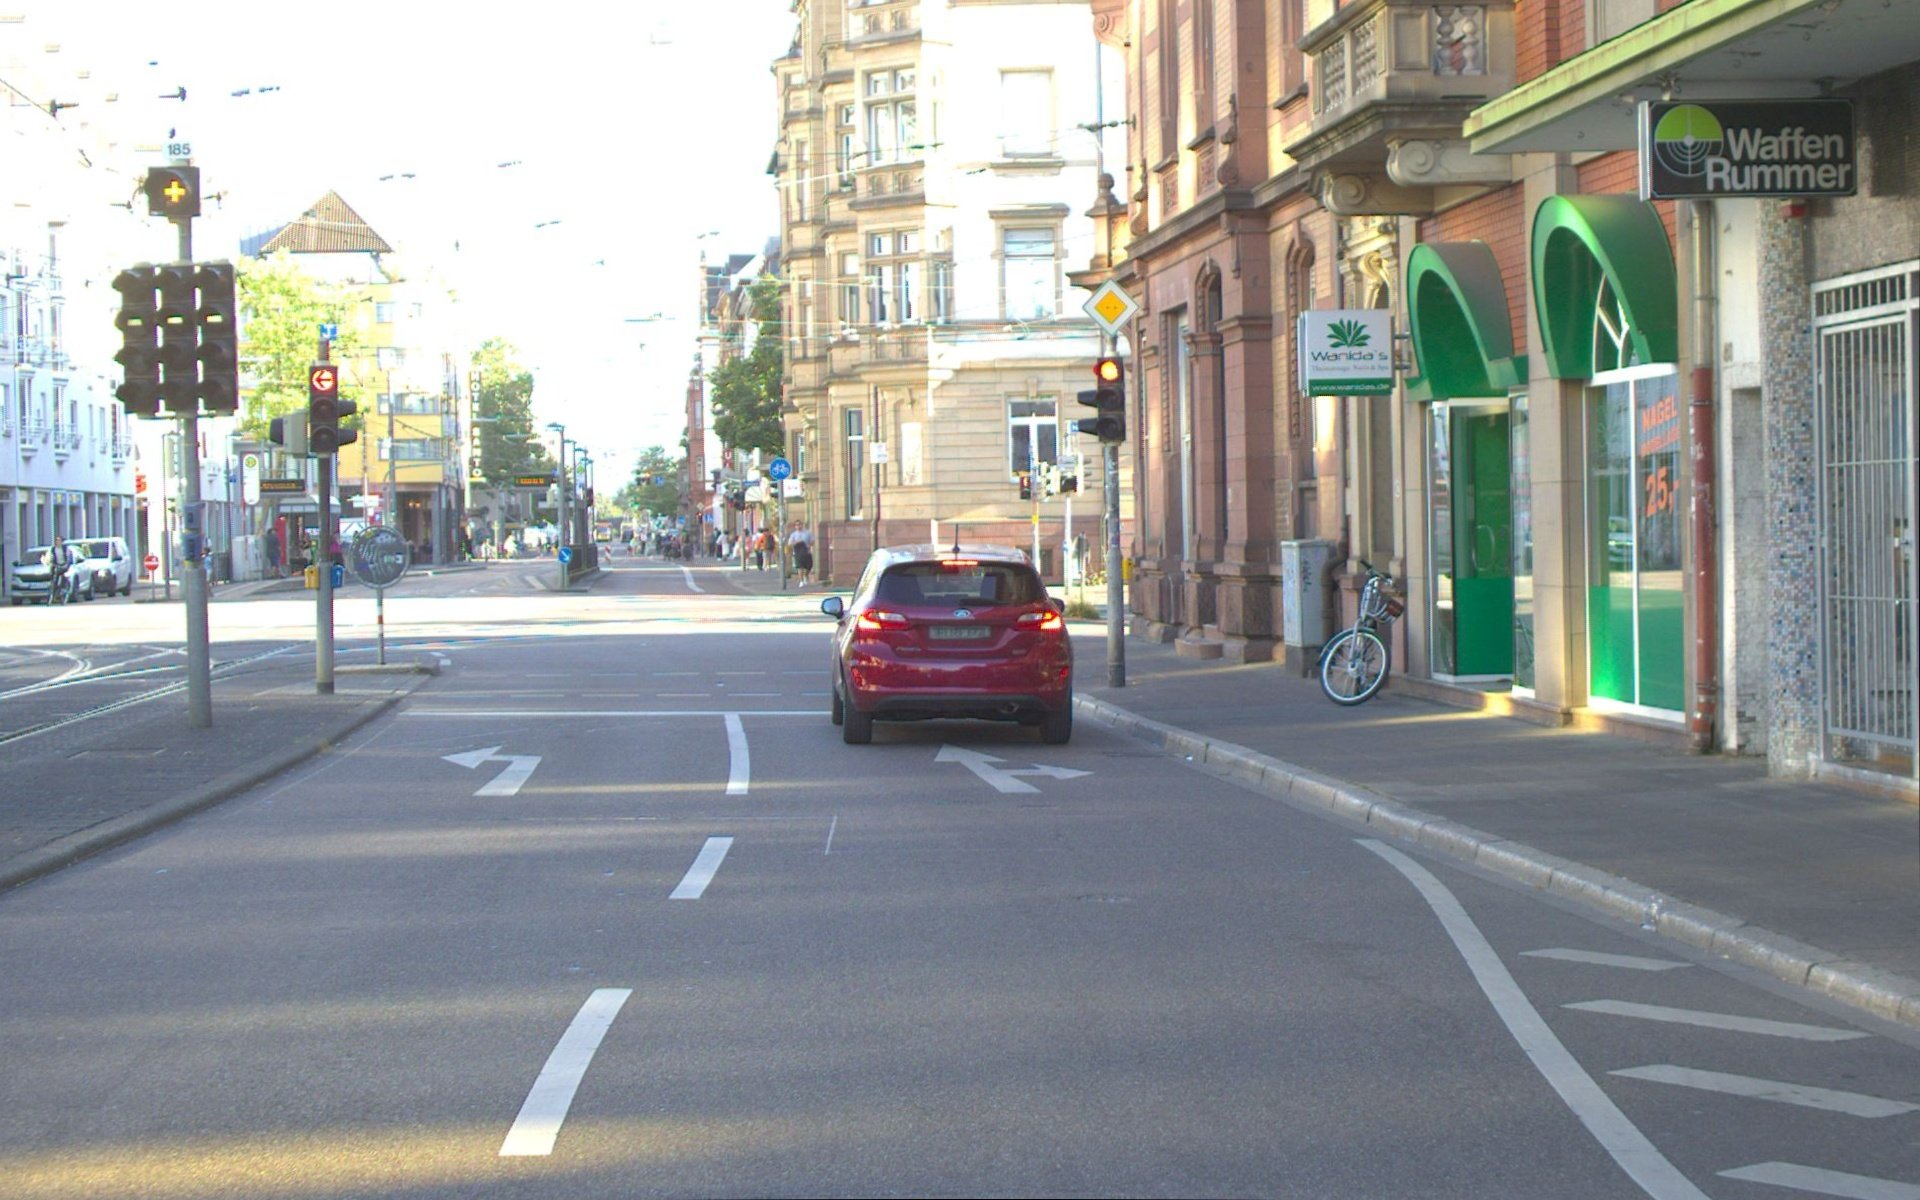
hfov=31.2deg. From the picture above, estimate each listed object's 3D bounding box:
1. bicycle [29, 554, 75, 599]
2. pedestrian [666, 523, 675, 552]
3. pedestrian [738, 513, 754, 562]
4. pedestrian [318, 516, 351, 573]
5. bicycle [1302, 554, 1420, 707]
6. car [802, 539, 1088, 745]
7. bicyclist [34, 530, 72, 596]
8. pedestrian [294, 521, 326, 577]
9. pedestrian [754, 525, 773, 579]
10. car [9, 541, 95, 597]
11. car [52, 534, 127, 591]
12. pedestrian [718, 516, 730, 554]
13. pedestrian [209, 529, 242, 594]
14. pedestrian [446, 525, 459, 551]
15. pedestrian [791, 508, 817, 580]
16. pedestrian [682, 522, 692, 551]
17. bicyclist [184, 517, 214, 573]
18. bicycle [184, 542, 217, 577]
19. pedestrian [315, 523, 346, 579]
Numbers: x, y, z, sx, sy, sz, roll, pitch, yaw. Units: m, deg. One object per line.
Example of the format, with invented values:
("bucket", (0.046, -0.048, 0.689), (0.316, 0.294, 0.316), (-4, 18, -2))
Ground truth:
("bicycle", (-23.749, -0.621, 89.940), (0.807, 1.143, 2.050), (-1, 1, -5))
("pedestrian", (-18.868, -4.085, 224.121), (0.577, 1.880, 0.670), (-1, 1, -5))
("pedestrian", (-8.888, -2.585, 142.522), (0.577, 2.007, 0.631), (-1, 1, 1))
("pedestrian", (-22.321, -1.985, 122.678), (1.045, 2.007, 0.959), (-1, 1, -7))
("bicycle", (3.284, 0.235, 28.044), (0.716, 1.148, 1.654), (-2, 1, 14))
("car", (-0.193, 0.269, 26.554), (1.753, 1.461, 3.946), (0, 1, -7))
("bicyclist", (-23.774, -0.978, 90.146), (0.807, 1.720, 0.794), (-1, 1, -5))
("pedestrian", (-23.555, -1.862, 124.572), (1.045, 2.007, 0.959), (-1, 1, -7))
("pedestrian", (-7.391, -1.811, 129.165), (0.646, 2.007, 0.683), (-1, 1, -5))
("car", (-26.290, -0.904, 99.627), (1.765, 1.540, 3.462), (-1, 1, -4))
("car", (-27.095, -1.174, 107.045), (1.701, 1.712, 3.565), (-1, 1, -5))
("pedestrian", (-12.684, -3.494, 184.857), (0.577, 2.007, 0.631), (-1, 1, -4))
("pedestrian", (-19.846, -1.046, 92.881), (0.768, 1.724, 0.573), (-1, 1, -3))
("pedestrian", (-31.941, -3.915, 216.322), (0.628, 1.599, 0.579), (-1, 1, -21))
("pedestrian", (-4.377, -1.564, 96.655), (0.651, 2.007, 0.760), (-1, 1, -6))
("pedestrian", (-17.461, -4.074, 219.839), (0.577, 1.880, 0.631), (-1, 1, -4))
("bicyclist", (-25.321, -1.831, 114.451), (0.807, 1.815, 0.993), (-1, 1, -5))
("bicycle", (-25.314, -1.362, 114.597), (0.807, 1.143, 2.011), (-1, 1, -5))
("pedestrian", (-23.083, -1.801, 126.047), (1.045, 2.007, 0.959), (-1, 1, -7))
